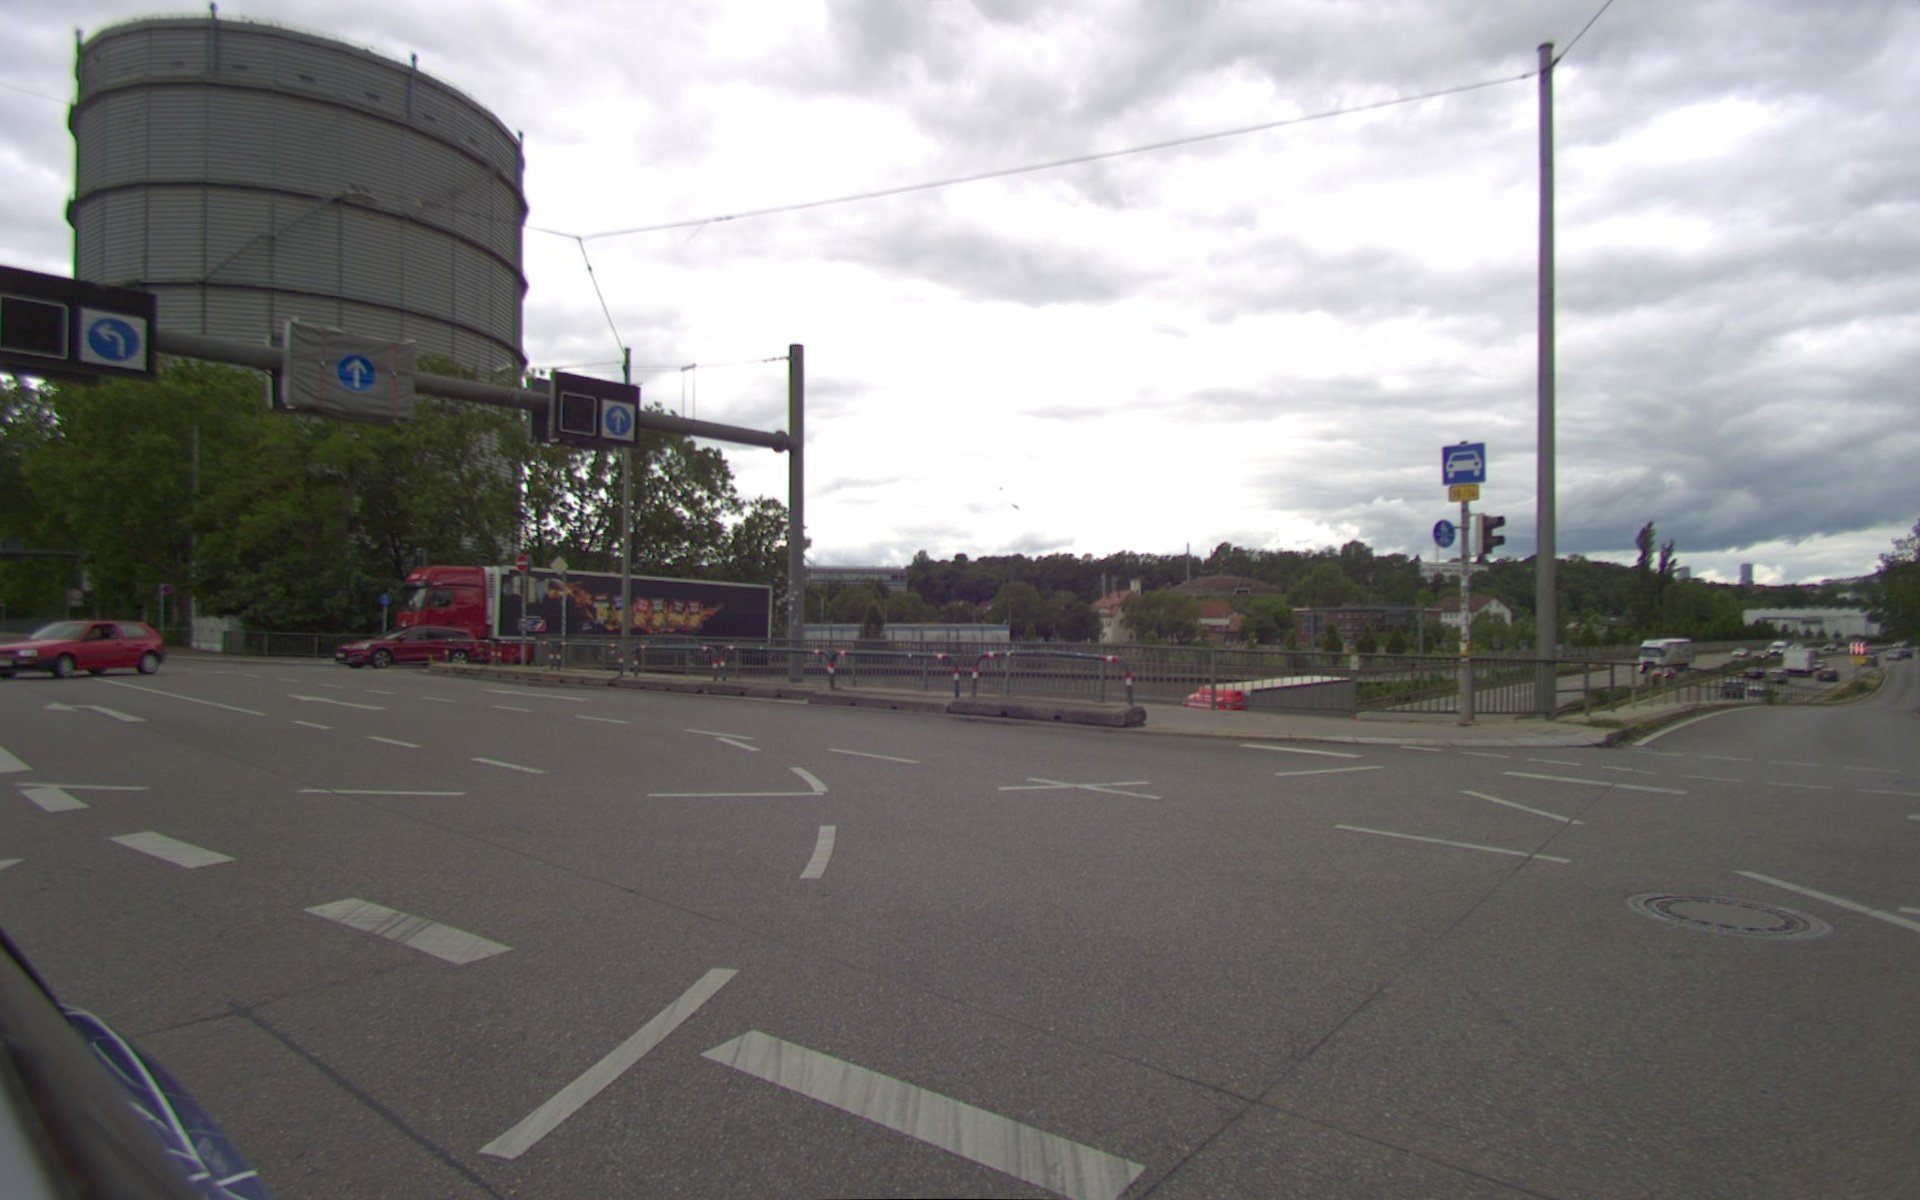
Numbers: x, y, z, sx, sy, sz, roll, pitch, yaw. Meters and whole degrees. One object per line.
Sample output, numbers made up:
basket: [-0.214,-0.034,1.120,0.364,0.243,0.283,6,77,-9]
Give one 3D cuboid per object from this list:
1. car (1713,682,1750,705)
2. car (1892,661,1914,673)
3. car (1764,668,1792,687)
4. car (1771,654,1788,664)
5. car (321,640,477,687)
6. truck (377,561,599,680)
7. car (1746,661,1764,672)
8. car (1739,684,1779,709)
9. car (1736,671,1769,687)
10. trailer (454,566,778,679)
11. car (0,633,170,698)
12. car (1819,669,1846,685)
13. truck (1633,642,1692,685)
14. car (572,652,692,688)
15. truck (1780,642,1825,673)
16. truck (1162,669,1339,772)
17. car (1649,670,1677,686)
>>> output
car: [70.874,8.561,92.961,2.140,1.730,4.361,0,0,44]
car: [169.623,12.037,182.047,4.572,2.029,2.601,2,-1,-44]
car: [92.594,8.761,114.539,2.140,1.730,4.361,0,0,44]
car: [154.215,11.042,190.420,3.584,1.730,1.916,3,-2,-43]
car: [-19.206,2.142,34.835,1.693,1.431,4.416,-2,-2,34]
truck: [-18.916,0.997,40.911,3.671,4.355,7.133,-3,-5,42]
car: [134.903,11.194,171.702,3.584,1.730,1.916,3,-2,-43]
car: [66.947,8.061,84.789,2.140,1.730,4.361,0,0,44]
car: [95.912,9.572,122.485,4.660,1.730,2.339,1,-4,-43]
trailer: [-14.838,1.336,45.455,3.671,4.355,13.587,-3,-5,42]
car: [-22.497,1.648,25.602,1.727,1.474,3.947,-2,-3,6]
car: [102.924,9.073,119.388,2.140,1.577,4.361,0,0,44]
truck: [90.640,8.088,130.394,13.726,4.992,3.383,1,-2,-43]
car: [-13.488,2.879,41.784,1.698,1.431,4.403,-3,-5,44]
truck: [106.184,7.157,127.560,8.119,3.482,3.597,1,0,-45]
truck: [15.848,6.150,54.173,13.057,4.389,2.893,1,-1,-43]
car: [81.640,9.050,117.543,3.584,1.730,1.916,3,-2,-43]
